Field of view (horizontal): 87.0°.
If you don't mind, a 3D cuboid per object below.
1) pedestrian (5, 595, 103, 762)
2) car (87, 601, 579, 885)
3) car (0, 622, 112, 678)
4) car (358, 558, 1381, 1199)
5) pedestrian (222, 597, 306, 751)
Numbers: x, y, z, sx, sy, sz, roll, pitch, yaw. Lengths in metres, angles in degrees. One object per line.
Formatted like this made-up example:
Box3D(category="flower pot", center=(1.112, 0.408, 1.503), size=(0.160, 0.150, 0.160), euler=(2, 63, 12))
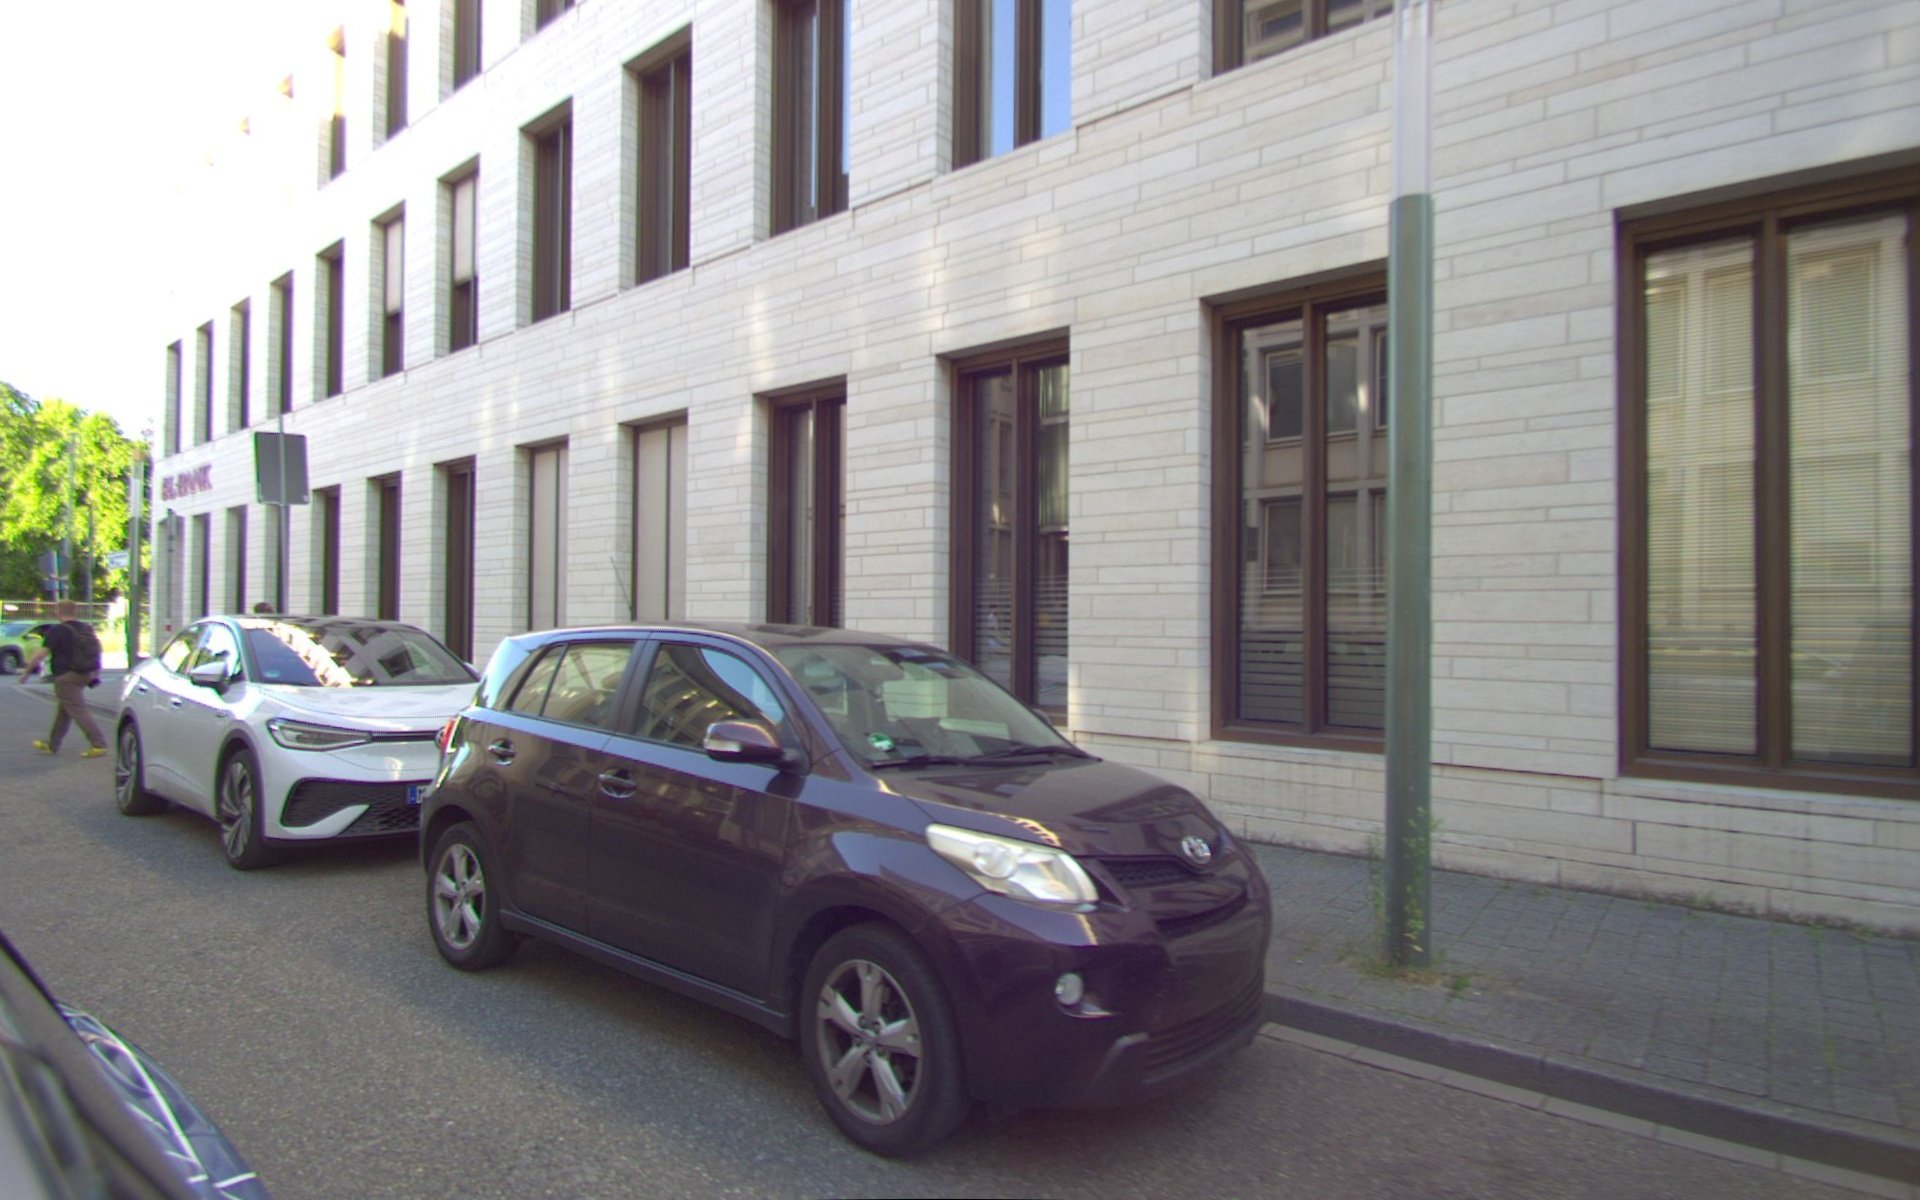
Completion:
Box3D(category="pedestrian", center=(-10.218, 0.867, 11.415), size=(0.575, 1.803, 0.635), euler=(0, -4, 39))
Box3D(category="car", center=(-4.925, 0.869, 7.690), size=(4.442, 1.553, 1.804), euler=(-2, -4, 39))
Box3D(category="car", center=(-27.276, 1.403, 29.102), size=(1.973, 1.471, 4.433), euler=(0, 0, 2))
Box3D(category="car", center=(-0.699, 0.742, 4.293), size=(4.258, 1.553, 1.805), euler=(-2, -2, 39))
Box3D(category="pedestrian", center=(-8.481, 0.865, 12.324), size=(0.816, 1.803, 0.637), euler=(0, -1, 40))
